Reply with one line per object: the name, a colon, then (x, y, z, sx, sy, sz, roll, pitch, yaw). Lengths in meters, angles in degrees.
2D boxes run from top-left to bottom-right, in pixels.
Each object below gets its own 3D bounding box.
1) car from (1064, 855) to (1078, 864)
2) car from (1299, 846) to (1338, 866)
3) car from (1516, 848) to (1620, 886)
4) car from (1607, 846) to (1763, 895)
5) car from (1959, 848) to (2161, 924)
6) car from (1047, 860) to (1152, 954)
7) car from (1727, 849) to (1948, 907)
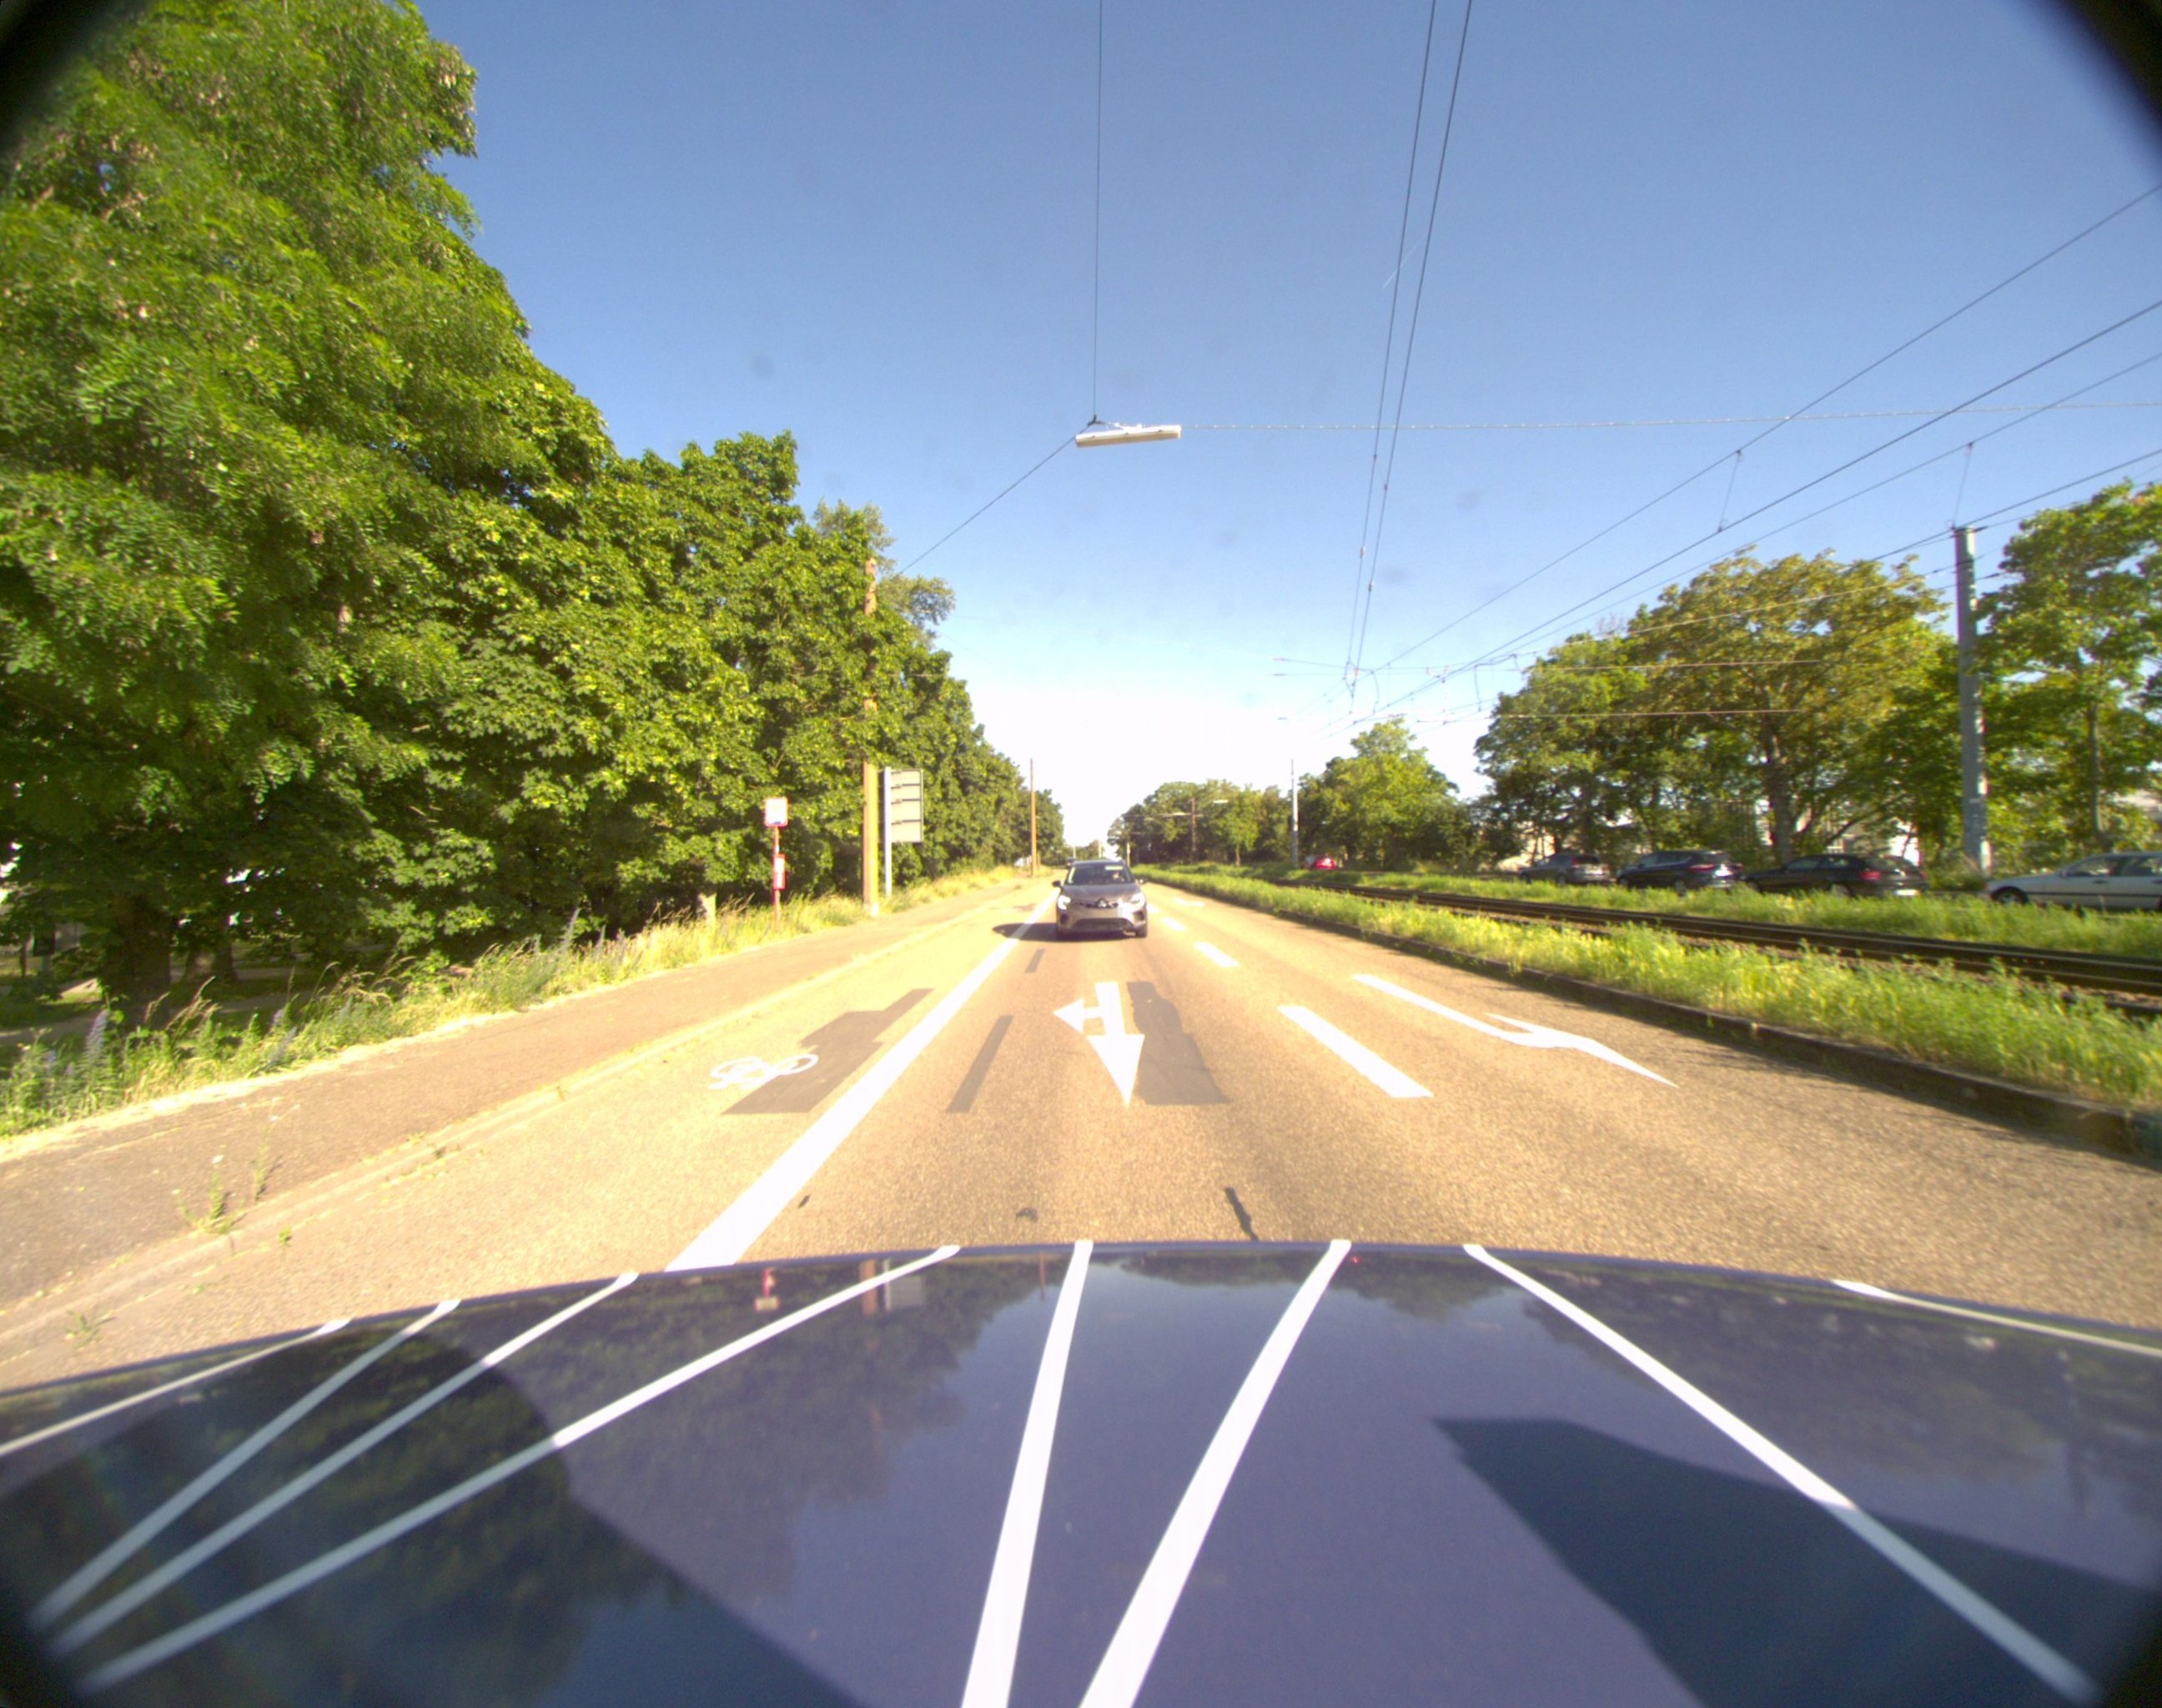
car: (-1.774, 0.986, 136.922, 2.000, 1.577, 3.997, -2, 0, -7)
car: (21.128, 0.200, 67.654, 2.009, 1.692, 4.466, -1, 0, -1)
car: (21.521, 0.539, 33.787, 1.740, 1.485, 4.327, -3, 0, -1)
car: (21.395, 0.558, 27.193, 1.999, 1.565, 4.435, -1, 0, -1)
car: (21.468, 0.601, 15.406, 1.933, 1.429, 4.695, -1, 0, 1)
car: (0.348, 0.962, 15.787, 1.822, 1.589, 4.413, -2, 0, 0)
car: (21.415, 0.637, 21.833, 1.998, 1.429, 4.415, -1, 0, 1)
